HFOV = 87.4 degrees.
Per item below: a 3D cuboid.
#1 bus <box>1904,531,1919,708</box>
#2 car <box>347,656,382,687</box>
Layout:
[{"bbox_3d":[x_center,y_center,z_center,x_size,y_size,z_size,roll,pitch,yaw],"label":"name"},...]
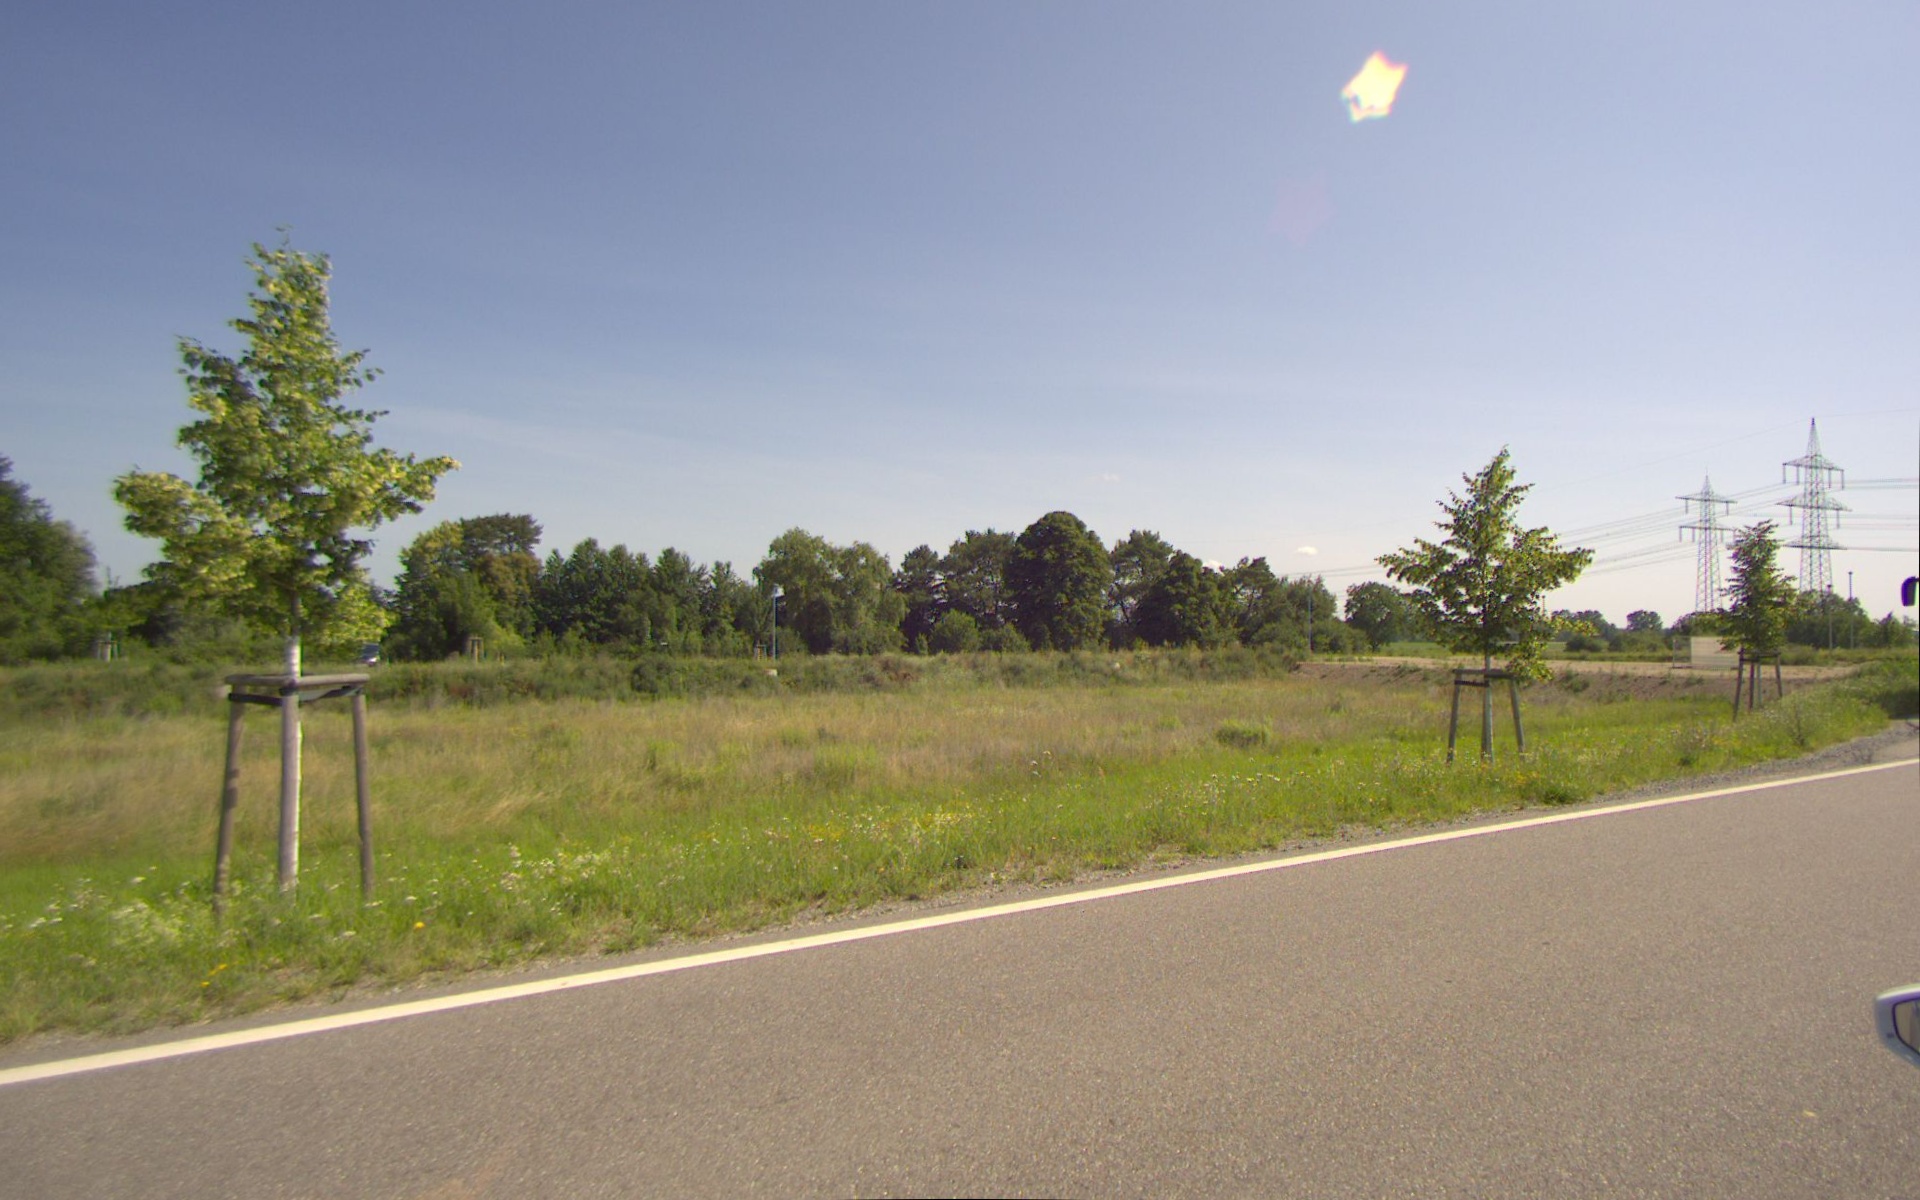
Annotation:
[{"bbox_3d":[23.848,0.445,21.029,12.090,3.329,2.781,2,-3,-31],"label":"bus"},{"bbox_3d":[-31.702,3.768,53.508,1.494,1.555,3.530,2,-3,-29],"label":"car"}]
